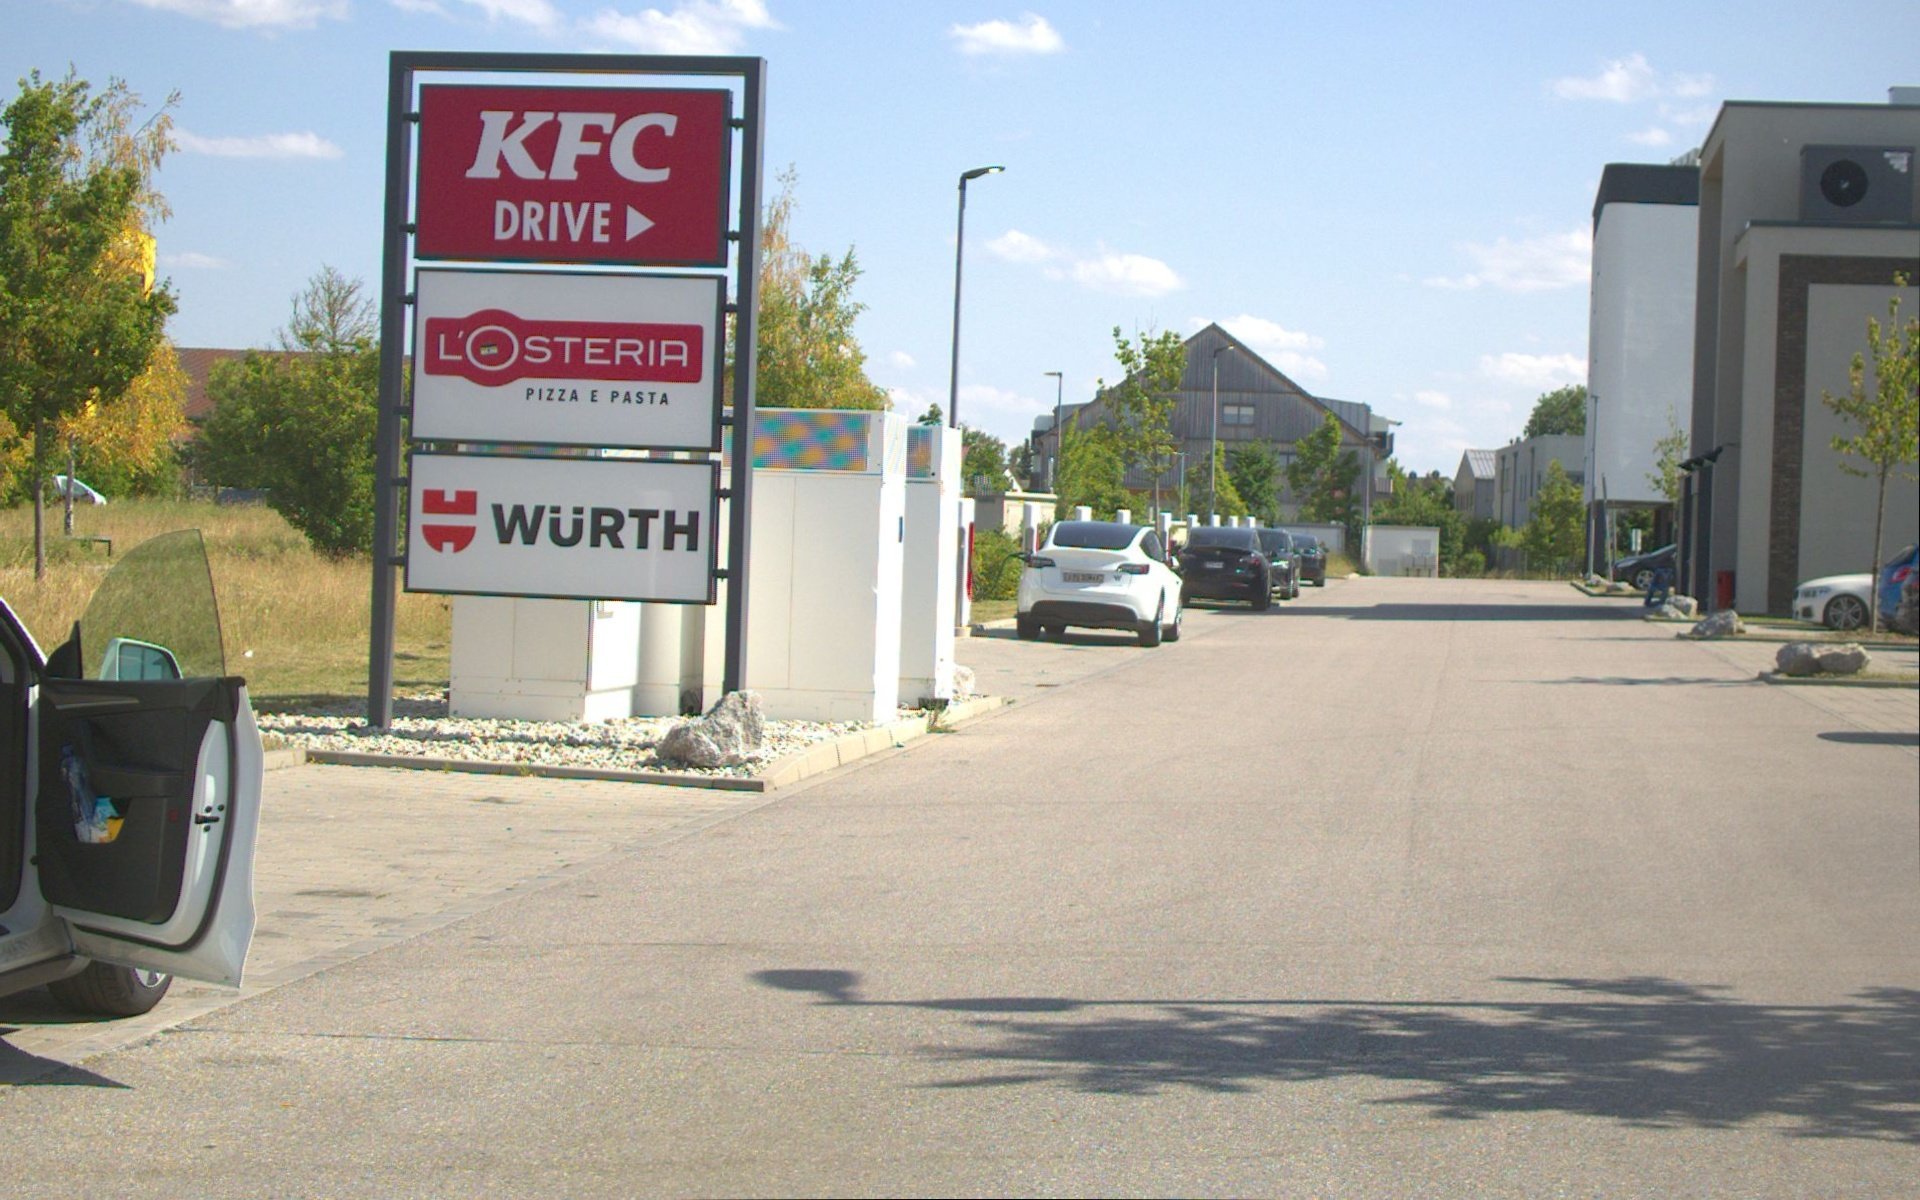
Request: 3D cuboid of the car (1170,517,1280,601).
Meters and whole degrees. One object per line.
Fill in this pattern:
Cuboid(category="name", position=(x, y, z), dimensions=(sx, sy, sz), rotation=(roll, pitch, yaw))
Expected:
Cuboid(category="car", position=(5.291, -0.837, 68.222), dimensions=(1.945, 1.563, 3.999), rotation=(2, 2, 7))

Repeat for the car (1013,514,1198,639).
Cuboid(category="car", position=(2.039, -0.353, 47.095), dimensions=(1.945, 1.563, 3.998), rotation=(2, 2, 10))

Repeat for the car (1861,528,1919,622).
Cuboid(category="car", position=(16.126, -0.337, 53.110), dimensions=(3.988, 1.415, 1.650), rotation=(2, 1, 5))

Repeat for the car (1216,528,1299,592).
Cuboid(category="car", position=(6.947, -0.951, 80.064), dimensions=(1.743, 1.382, 3.999), rotation=(2, 2, 7))

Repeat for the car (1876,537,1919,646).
Cuboid(category="car", position=(14.536, -0.056, 46.253), dimensions=(3.988, 1.415, 1.650), rotation=(2, 1, 5))

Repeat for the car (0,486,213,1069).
Cuboid(category="car", position=(-3.581, 0.467, 9.056), dimensions=(1.864, 1.594, 4.488), rotation=(2, 1, 5))

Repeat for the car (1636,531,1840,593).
Cuboid(category="car", position=(16.359, -0.813, 72.498), dimensions=(3.988, 1.152, 2.000), rotation=(2, 2, 7))

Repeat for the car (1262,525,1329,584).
Cuboid(category="car", position=(9.462, -1.291, 96.799), dimensions=(1.743, 1.563, 3.999), rotation=(2, 2, 7))

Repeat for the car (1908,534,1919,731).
Cuboid(category="car", position=(9.098, 0.333, 24.618), dimensions=(4.202, 1.436, 1.698), rotation=(2, 2, 8))

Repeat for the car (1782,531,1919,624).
Cuboid(category="car", position=(15.533, -0.346, 55.861), dimensions=(3.988, 1.415, 1.650), rotation=(2, 1, 5))
